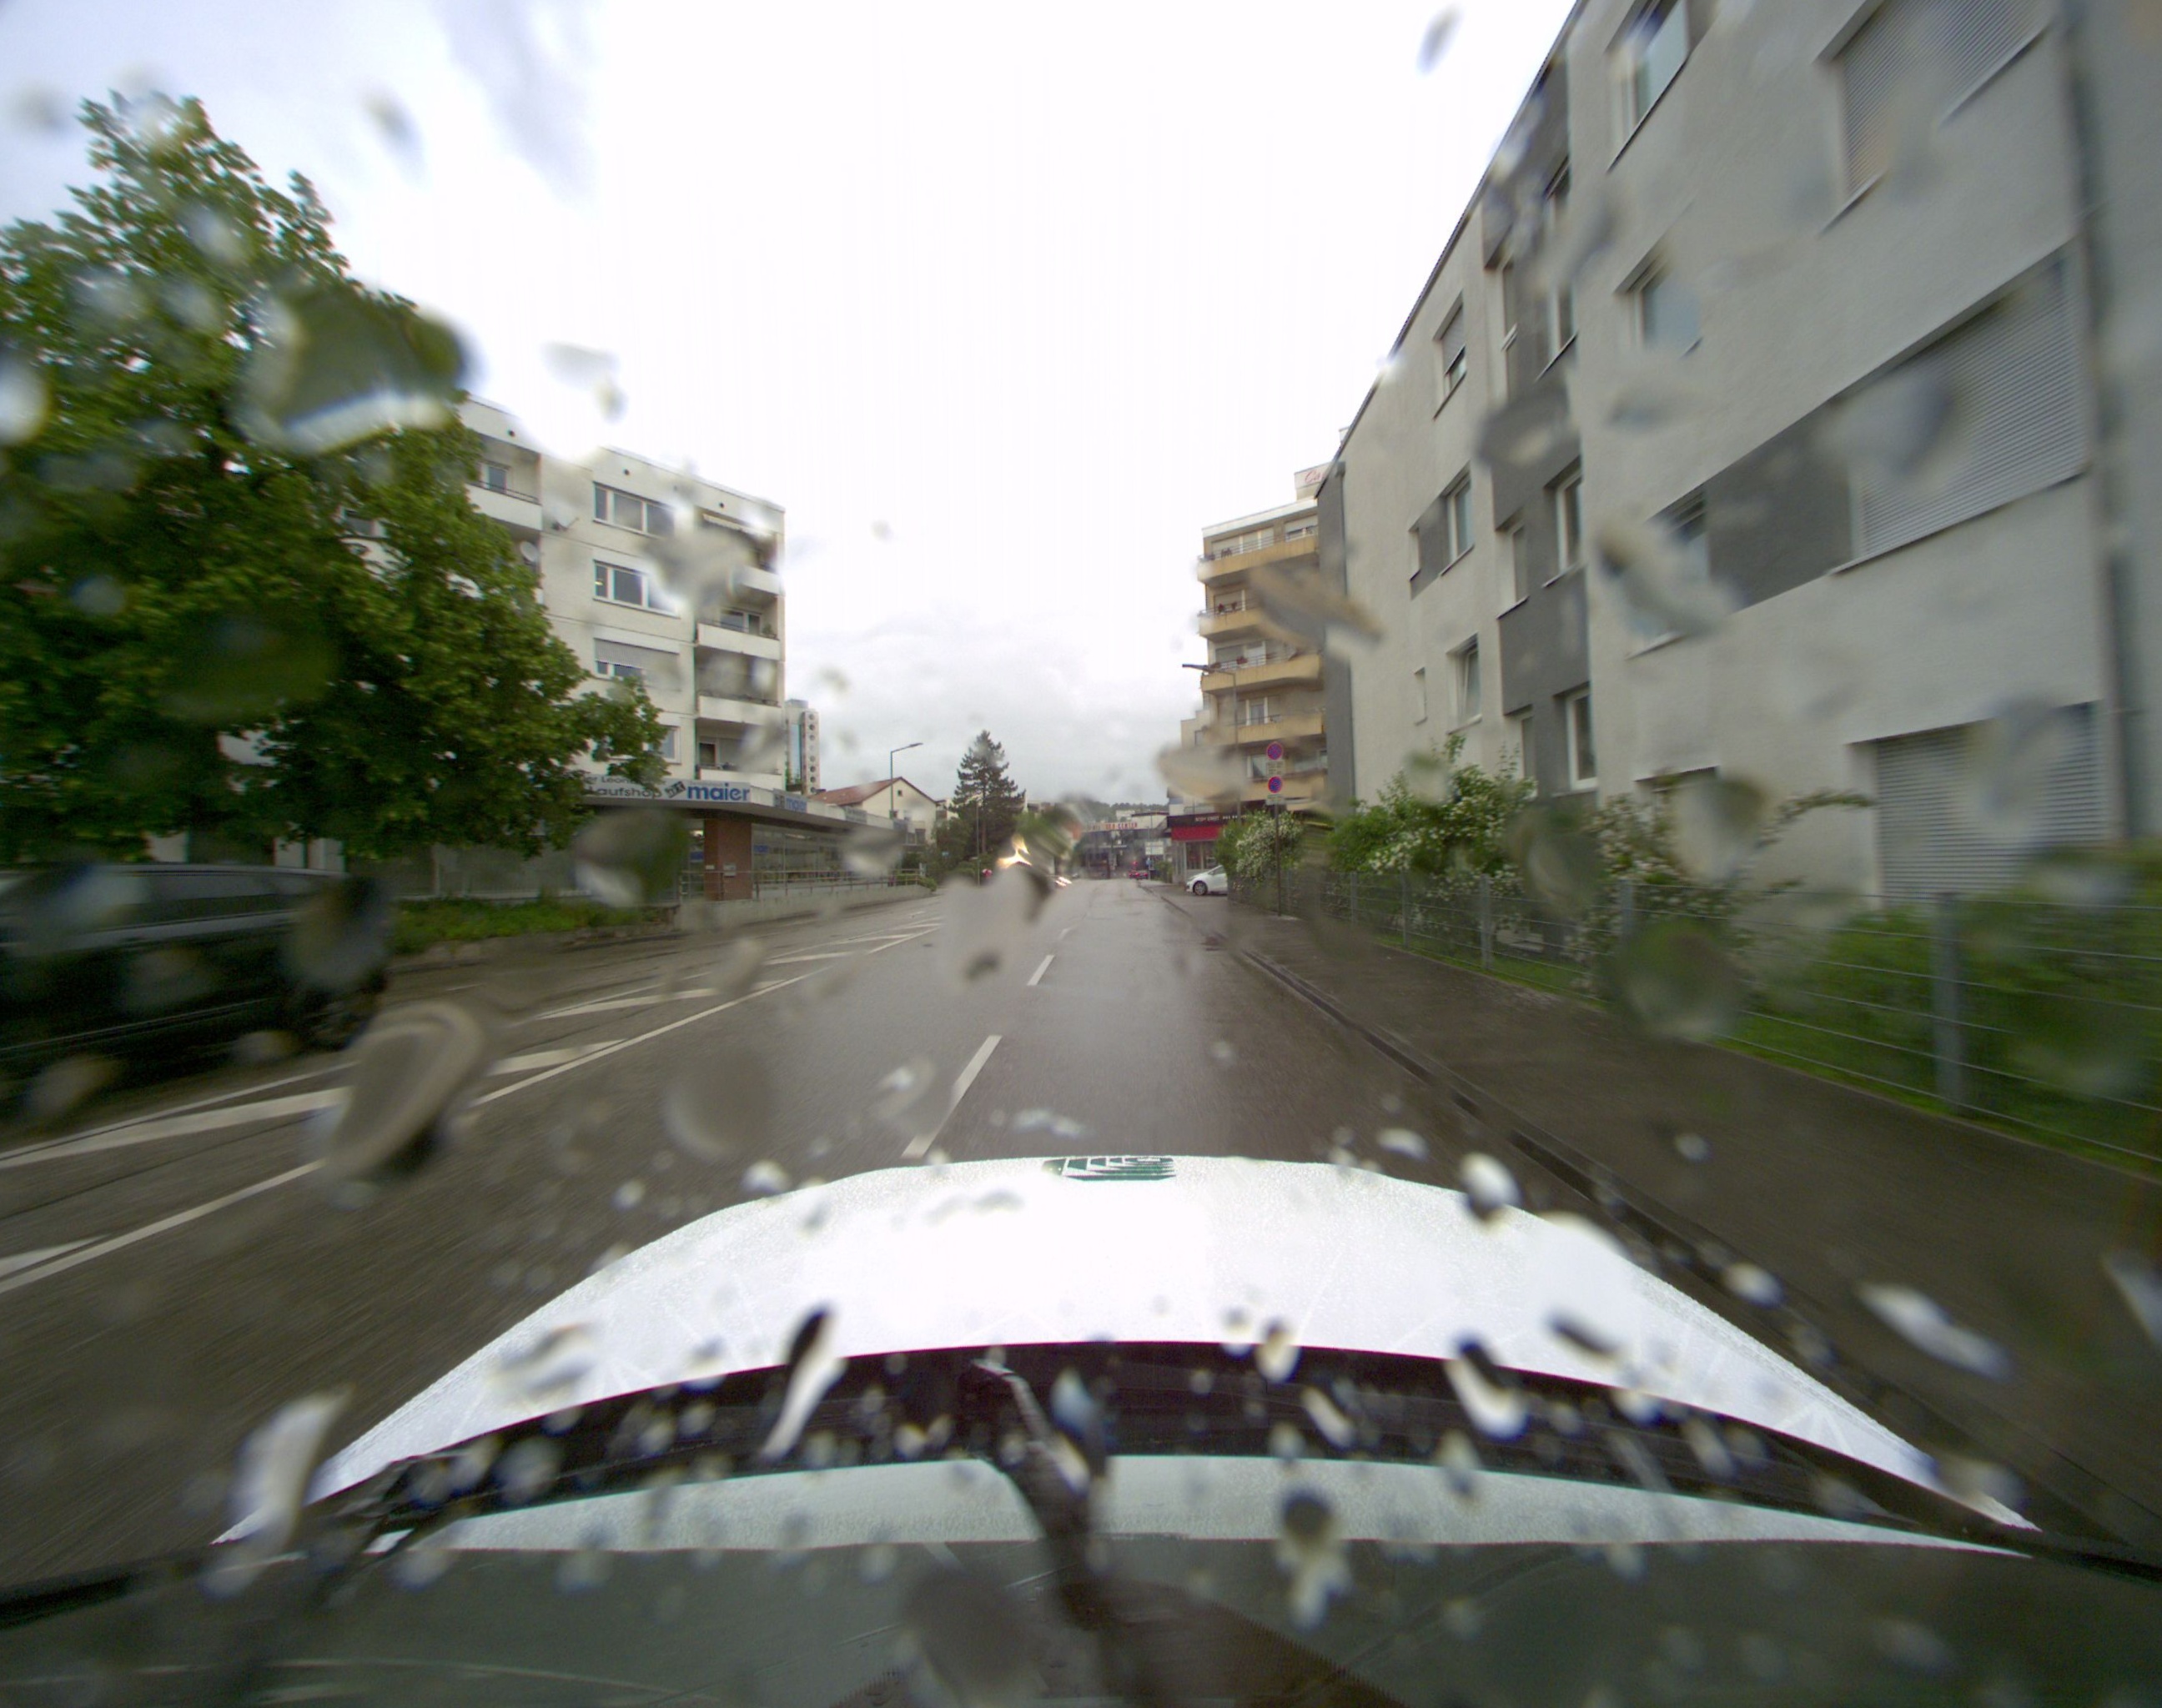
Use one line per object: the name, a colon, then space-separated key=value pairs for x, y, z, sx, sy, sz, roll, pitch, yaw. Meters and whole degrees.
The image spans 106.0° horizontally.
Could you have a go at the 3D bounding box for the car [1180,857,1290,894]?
car: x=6.631 y=0.913 z=35.159 sx=4.216 sy=1.494 sz=1.885 roll=-1 pitch=1 yaw=31

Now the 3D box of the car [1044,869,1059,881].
car: x=-3.785 y=2.674 z=105.010 sx=1.692 sy=1.409 sz=4.000 roll=-4 pitch=0 yaw=1

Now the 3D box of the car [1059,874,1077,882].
car: x=-2.889 y=5.294 z=178.383 sx=2.007 sy=1.512 sz=4.389 roll=2 pitch=0 yaw=-32

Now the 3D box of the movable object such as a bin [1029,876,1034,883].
movable object such as a bin: x=-7.444 y=3.788 z=122.050 sx=0.645 sy=0.966 sz=0.683 roll=-2 pitch=-2 yaw=5

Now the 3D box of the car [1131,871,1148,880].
car: x=10.729 y=3.933 z=149.001 sx=1.788 sy=1.419 sz=4.022 roll=-2 pitch=-2 yaw=25

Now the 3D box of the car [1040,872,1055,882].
car: x=-5.214 y=3.606 z=126.150 sx=1.643 sy=1.521 sz=4.330 roll=-1 pitch=-2 yaw=5

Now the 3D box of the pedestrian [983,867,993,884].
pedestrian: x=-8.998 y=2.101 z=78.802 sx=0.867 sy=1.607 sz=1.101 roll=-1 pitch=-2 yaw=-4

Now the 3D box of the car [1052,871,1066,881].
car: x=-3.862 y=3.857 z=142.704 sx=1.925 sy=1.542 sz=4.278 roll=-1 pitch=-2 yaw=5

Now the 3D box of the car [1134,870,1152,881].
car: x=9.938 y=3.421 z=129.590 sx=1.979 sy=1.534 sz=4.664 roll=-1 pitch=-3 yaw=15

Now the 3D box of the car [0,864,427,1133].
car: x=-7.216 y=0.885 z=5.499 sx=1.793 sy=1.557 sz=4.326 roll=-1 pitch=0 yaw=6

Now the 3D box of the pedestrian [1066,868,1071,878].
pedestrian: x=-2.461 y=3.724 z=160.488 sx=0.741 sy=2.014 sz=0.926 roll=2 pitch=-2 yaw=26
